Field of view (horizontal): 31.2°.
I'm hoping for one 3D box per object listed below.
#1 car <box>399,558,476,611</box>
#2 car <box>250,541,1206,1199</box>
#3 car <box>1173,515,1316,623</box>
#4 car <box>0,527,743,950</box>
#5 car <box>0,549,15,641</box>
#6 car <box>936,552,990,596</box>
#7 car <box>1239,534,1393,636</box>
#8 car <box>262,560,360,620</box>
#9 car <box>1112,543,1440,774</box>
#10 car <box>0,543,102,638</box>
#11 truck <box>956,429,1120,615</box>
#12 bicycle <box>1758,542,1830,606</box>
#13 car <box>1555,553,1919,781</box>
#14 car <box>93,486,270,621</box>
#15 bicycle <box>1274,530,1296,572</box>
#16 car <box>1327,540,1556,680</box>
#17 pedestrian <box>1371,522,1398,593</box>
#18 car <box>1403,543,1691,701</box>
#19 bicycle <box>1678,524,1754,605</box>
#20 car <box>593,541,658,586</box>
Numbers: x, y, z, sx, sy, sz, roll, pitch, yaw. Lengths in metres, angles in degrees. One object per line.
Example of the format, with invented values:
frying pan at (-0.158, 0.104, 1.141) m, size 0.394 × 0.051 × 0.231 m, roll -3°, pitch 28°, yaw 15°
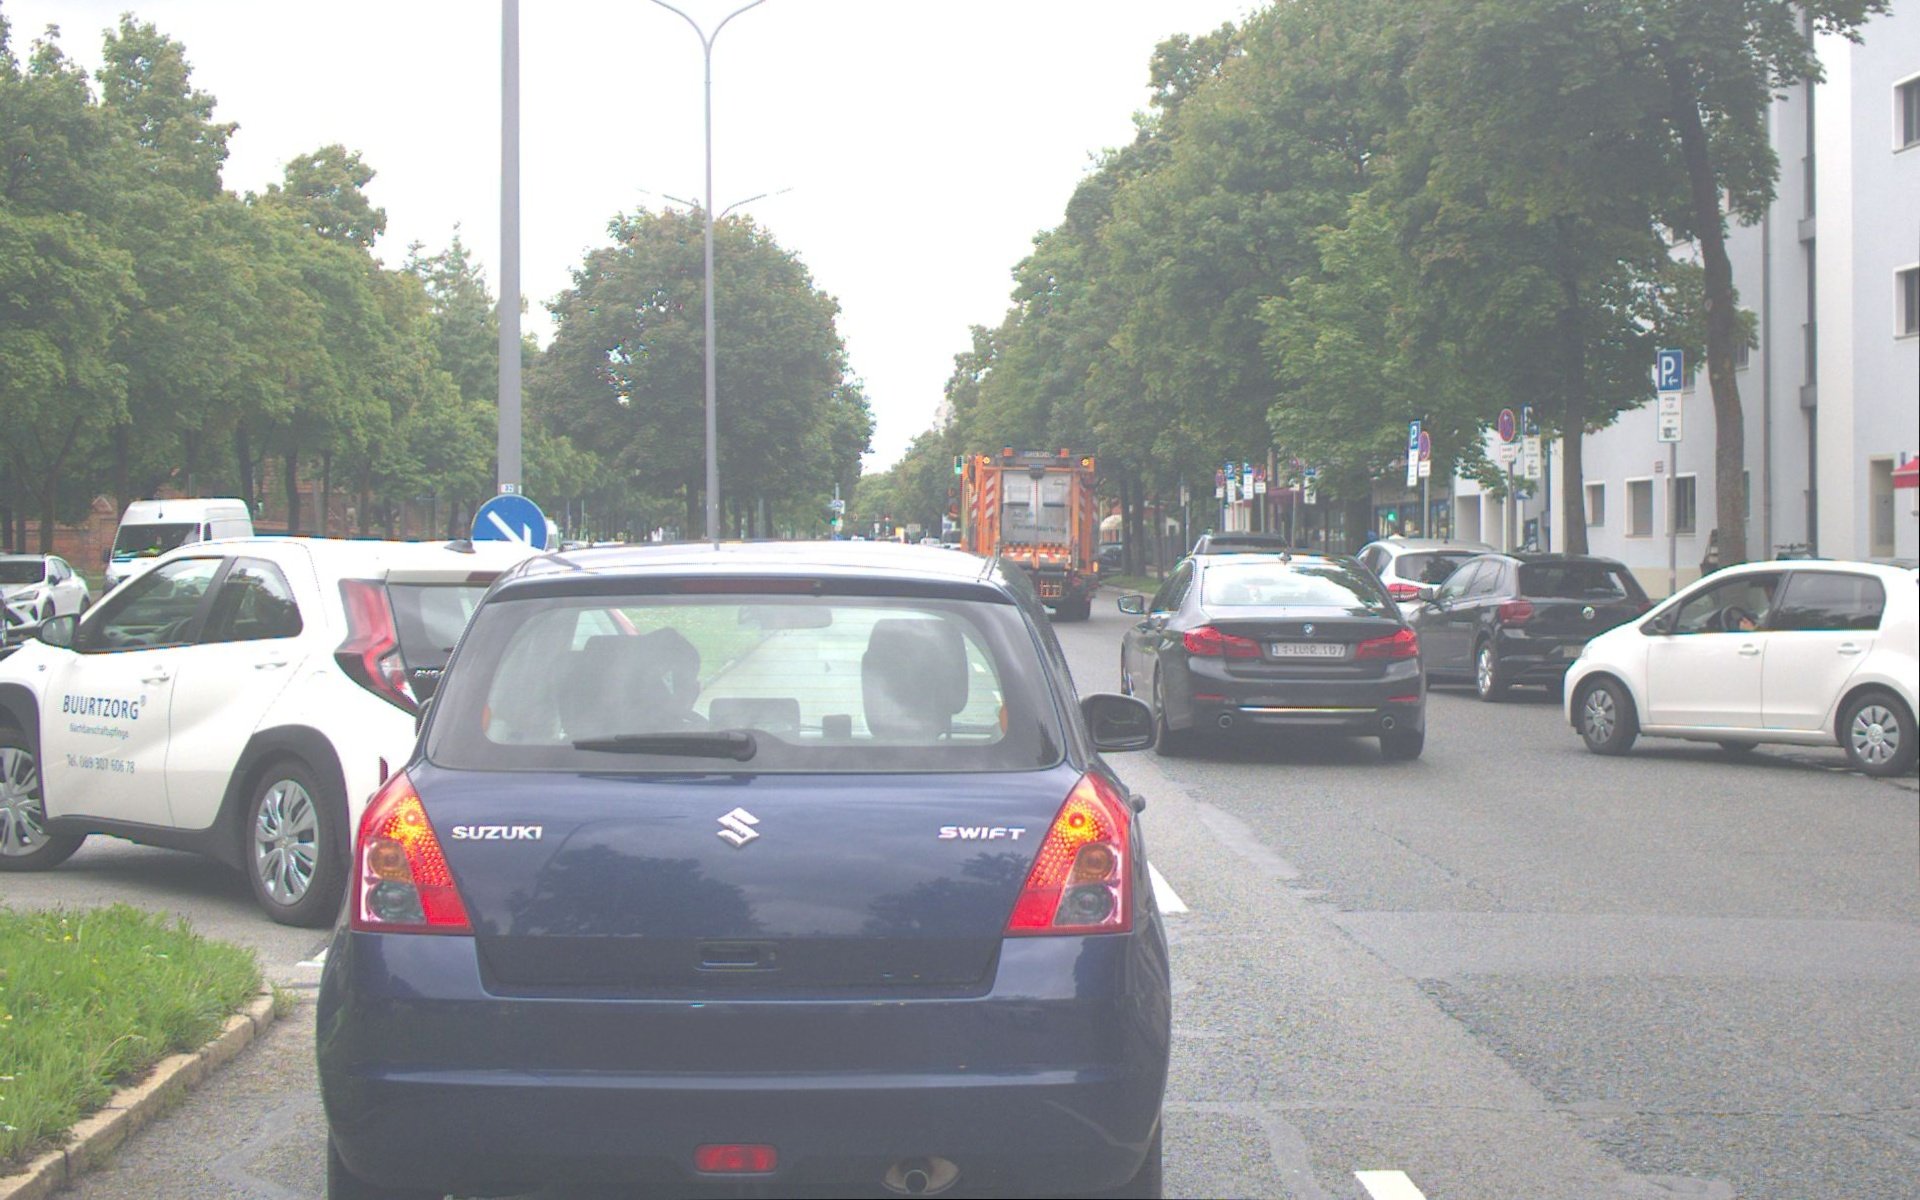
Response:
car at (-16.265, -0.500, 107.115) m, size 1.886 × 1.532 × 4.315 m, roll -3°, pitch 1°, yaw -3°
car at (-0.442, 0.613, 8.317) m, size 1.753 × 1.499 × 4.000 m, roll 0°, pitch 1°, yaw 0°
car at (4.706, -0.543, 57.498) m, size 1.829 × 1.740 × 4.509 m, roll 0°, pitch 1°, yaw -2°
car at (-2.766, 0.467, 14.569) m, size 1.822 × 1.548 × 3.719 m, roll -1°, pitch 1°, yaw -40°
car at (-15.826, -0.035, 52.811) m, size 1.821 × 1.442 × 4.001 m, roll -2°, pitch 1°, yaw -5°
car at (0.086, -0.917, 119.834) m, size 1.829 × 1.517 × 3.771 m, roll 0°, pitch 1°, yaw -1°
car at (5.466, -0.253, 53.143) m, size 1.829 × 1.517 × 3.771 m, roll 0°, pitch 1°, yaw -2°
car at (-16.480, -0.253, 87.489) m, size 1.857 × 1.485 × 4.142 m, roll 0°, pitch 0°, yaw -2°
car at (2.213, 0.351, 25.308) m, size 1.821 × 1.472 × 4.691 m, roll 2°, pitch 1°, yaw -1°
car at (-15.873, -0.138, 58.014) m, size 1.821 × 1.522 × 4.299 m, roll -2°, pitch 0°, yaw -2°
truck at (1.479, -1.617, 72.346) m, size 3.041 × 3.545 × 13.675 m, roll 0°, pitch 1°, yaw 0°
bicycle at (13.865, -0.444, 57.190) m, size 0.621 × 1.043 × 2.195 m, roll 0°, pitch 1°, yaw -1°
car at (6.093, 0.419, 24.418) m, size 1.687 × 1.485 × 3.434 m, roll -1°, pitch 1°, yaw -38°
car at (-16.225, -1.021, 72.034) m, size 2.139 × 2.634 × 7.106 m, roll -1°, pitch 1°, yaw -1°
bicycle at (11.175, -1.689, 118.341) m, size 0.580 × 1.458 × 1.688 m, roll 0°, pitch 1°, yaw -1°
car at (5.497, 0.069, 39.781) m, size 1.829 × 1.517 × 4.524 m, roll 0°, pitch 1°, yaw -2°
pedestrian at (10.449, -1.045, 84.626) m, size 0.499 × 1.727 × 0.733 m, roll -2°, pitch 1°, yaw -1°
car at (5.753, 0.172, 34.138) m, size 1.829 × 1.468 × 3.889 m, roll 0°, pitch 1°, yaw -6°
bicycle at (13.551, -0.642, 61.671) m, size 0.702 × 1.402 × 2.593 m, roll -2°, pitch 1°, yaw -1°
car at (-11.086, -1.229, 114.122) m, size 1.815 × 1.443 × 4.783 m, roll -1°, pitch 1°, yaw -2°
